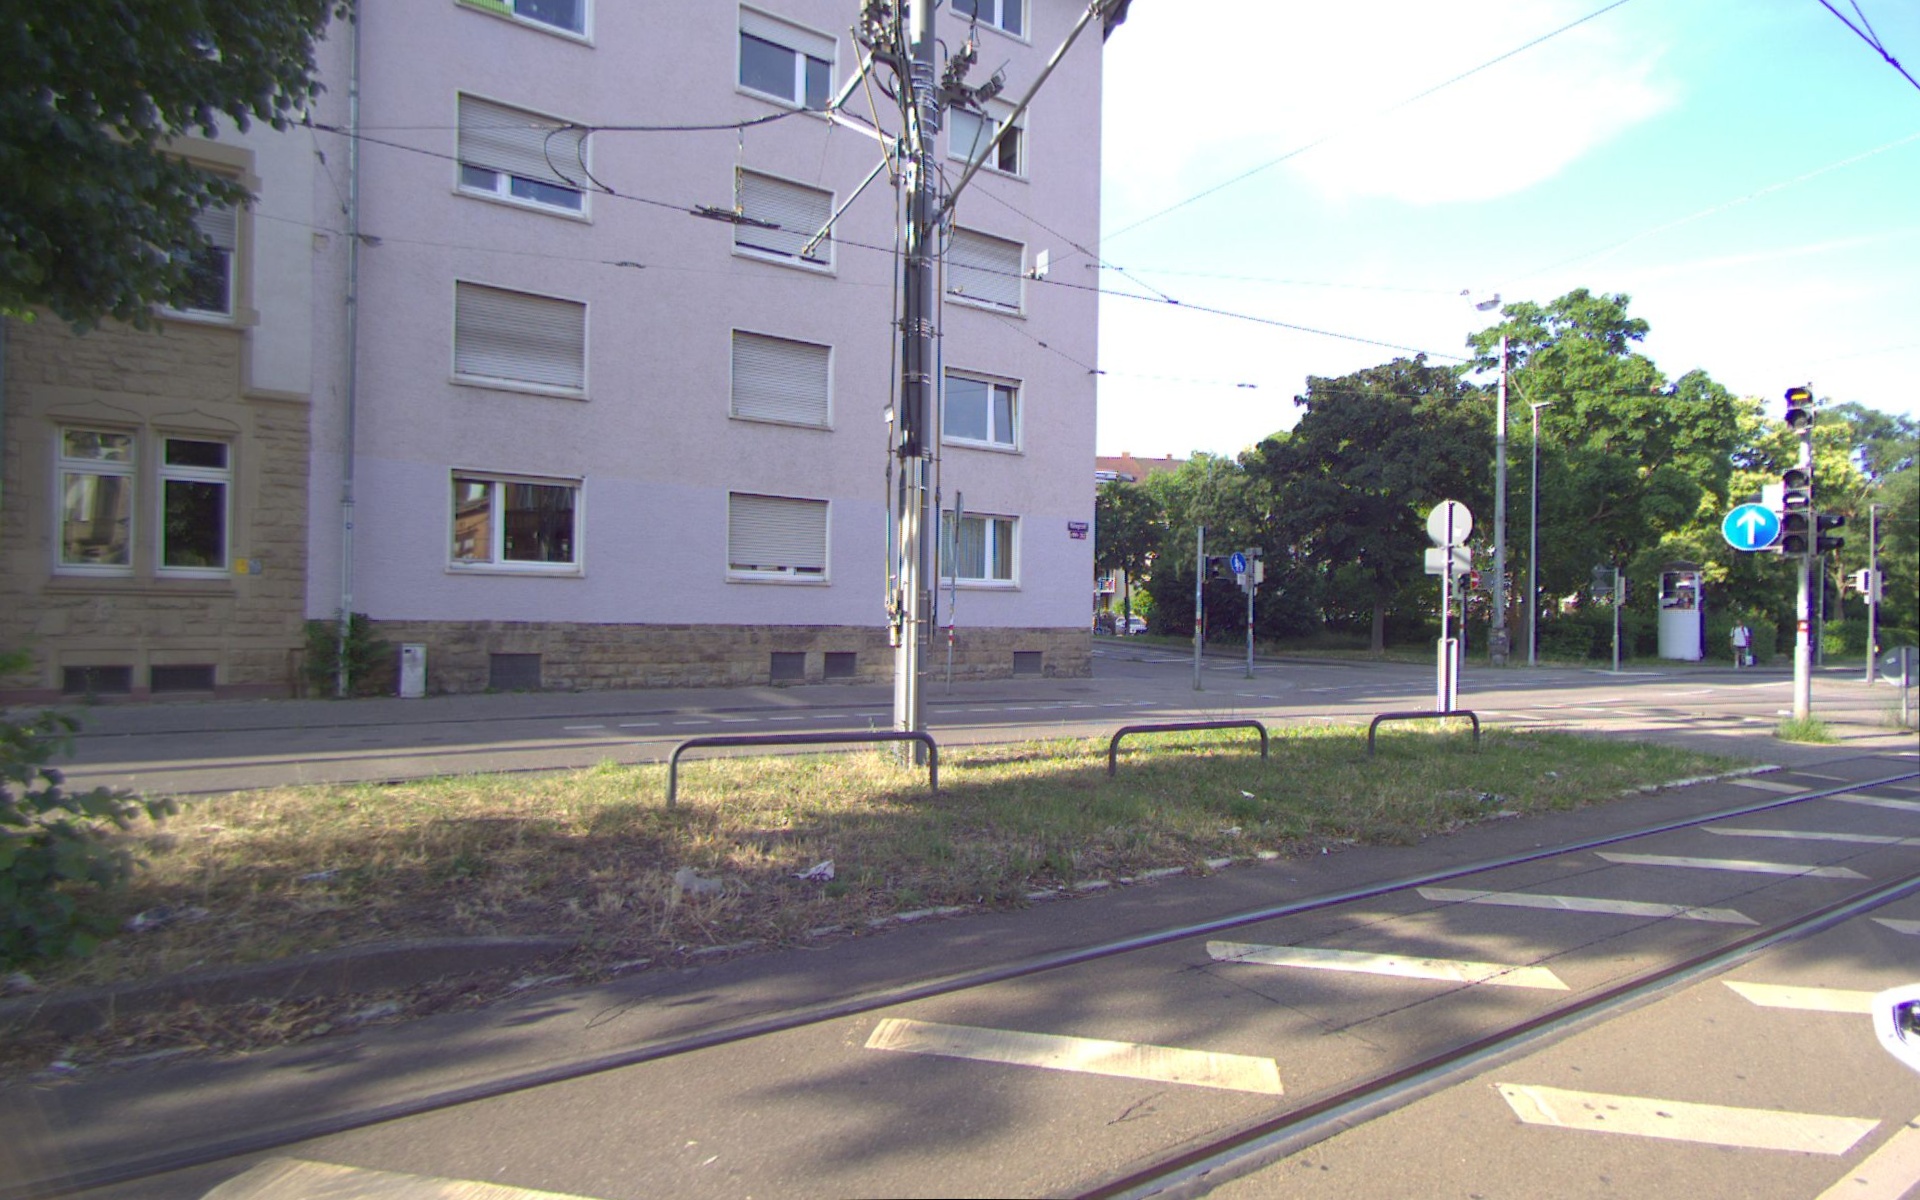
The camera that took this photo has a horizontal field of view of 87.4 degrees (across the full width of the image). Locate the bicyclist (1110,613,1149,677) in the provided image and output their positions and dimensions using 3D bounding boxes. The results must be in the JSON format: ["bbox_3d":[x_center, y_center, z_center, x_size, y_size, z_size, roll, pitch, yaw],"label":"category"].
[{"bbox_3d":[4.529,1.194,26.914,0.781,1.664,0.772,1,-1,-12],"label":"bicyclist"}]

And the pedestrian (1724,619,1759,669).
[{"bbox_3d":[30.992,1.736,39.819,0.704,1.935,0.992,1,0,-45],"label":"pedestrian"}]
